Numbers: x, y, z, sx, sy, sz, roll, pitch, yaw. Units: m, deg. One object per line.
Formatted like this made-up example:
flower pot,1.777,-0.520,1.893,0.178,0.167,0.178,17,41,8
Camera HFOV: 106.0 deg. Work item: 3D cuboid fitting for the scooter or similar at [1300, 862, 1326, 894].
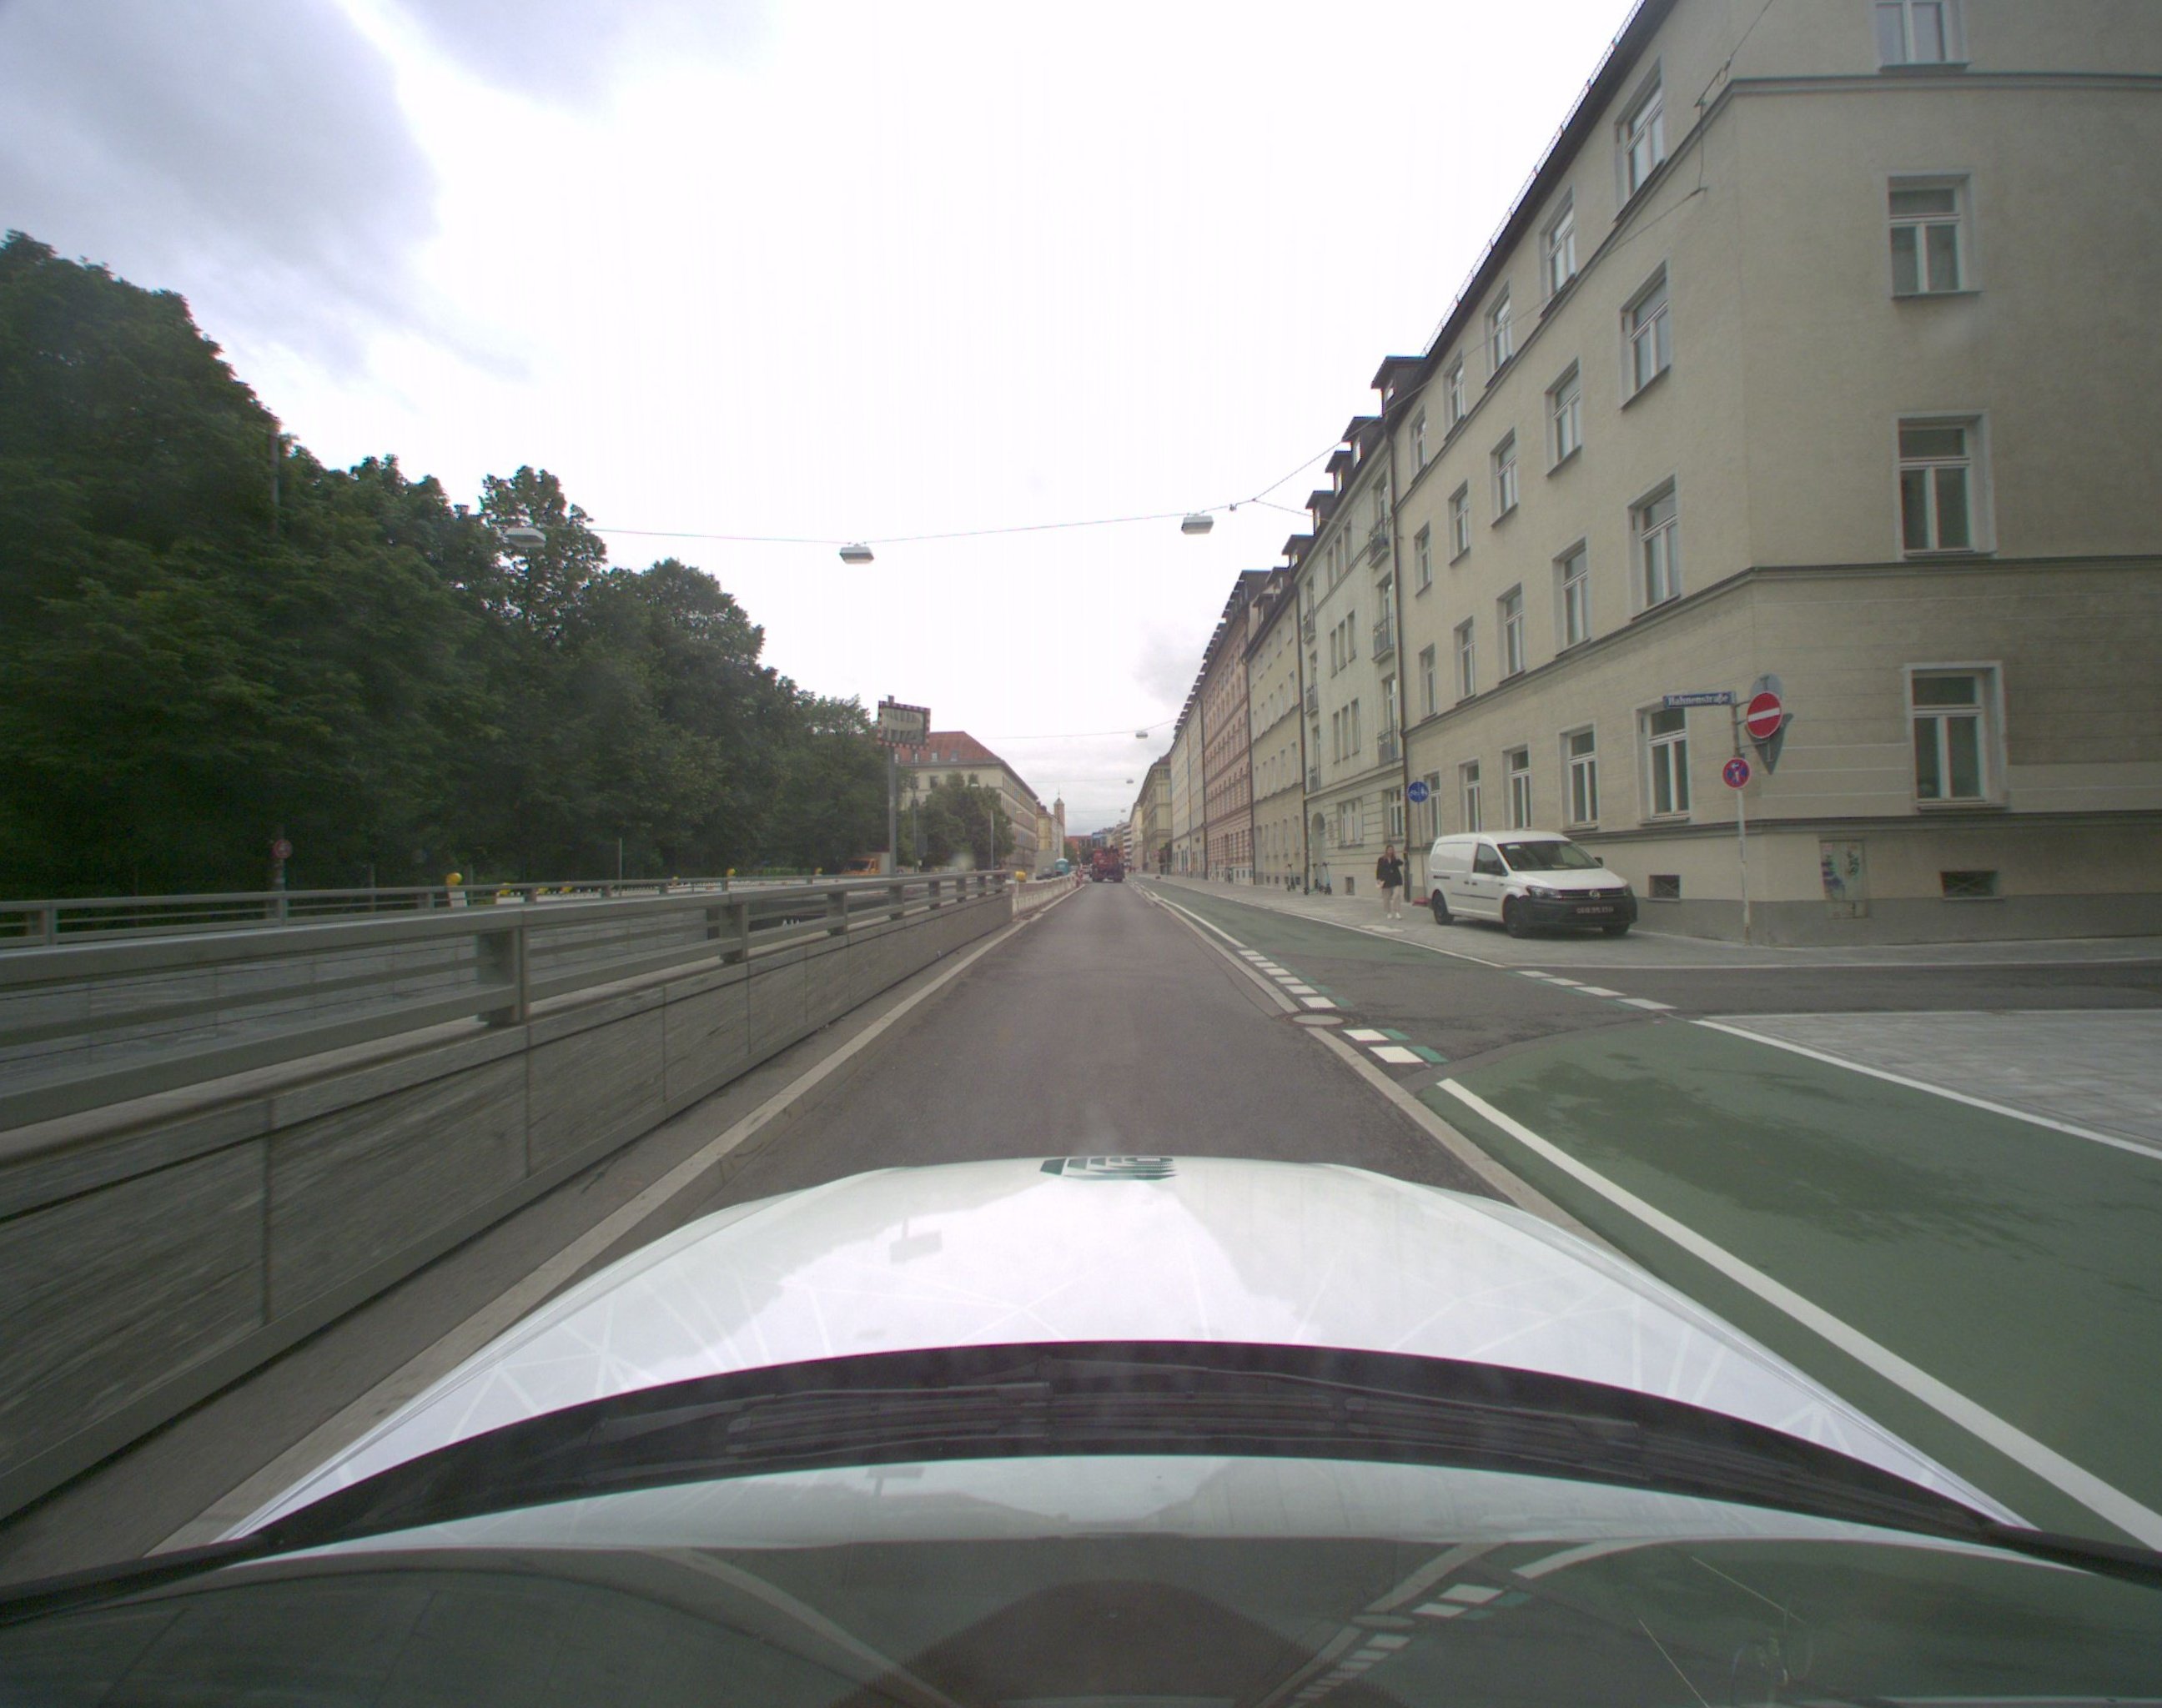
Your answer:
scooter or similar,9.312,0.969,32.740,1.123,1.231,0.244,-2,-2,-32

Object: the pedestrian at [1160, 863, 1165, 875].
pedestrian,12.829,2.378,127.877,0.787,1.836,0.777,-2,-1,3

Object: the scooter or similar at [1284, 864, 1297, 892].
scooter or similar,9.606,1.099,37.384,0.244,1.231,1.126,-4,-2,27

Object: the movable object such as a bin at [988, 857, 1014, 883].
movable object such as a bin,-8.158,1.634,83.536,1.916,2.572,4.496,-1,-1,3

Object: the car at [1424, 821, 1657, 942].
car,7.853,0.441,14.491,1.727,1.750,4.437,-2,-1,2

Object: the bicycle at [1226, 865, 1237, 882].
bicycle,10.384,1.351,56.231,0.422,1.174,1.739,-2,-1,19

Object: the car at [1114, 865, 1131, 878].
car,4.824,2.011,95.237,1.795,1.480,4.687,-2,-1,1

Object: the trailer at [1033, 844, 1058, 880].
trailer,-3.446,0.782,78.375,2.222,3.244,7.510,-1,-1,-3

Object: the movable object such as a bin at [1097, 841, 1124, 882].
movable object such as a bin,2.706,0.701,76.016,2.415,3.612,5.851,-1,-1,1

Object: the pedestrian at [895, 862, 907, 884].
pedestrian,-13.531,1.409,61.276,0.660,1.603,0.698,-1,-1,3

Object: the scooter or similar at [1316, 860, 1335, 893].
scooter or similar,9.489,0.871,31.632,0.385,1.272,1.120,-3,-2,1

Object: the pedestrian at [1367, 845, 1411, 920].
pedestrian,6.957,0.626,18.416,0.662,1.636,0.737,-2,-1,1

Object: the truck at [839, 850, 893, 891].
truck,-15.147,1.149,57.658,1.985,2.729,5.873,-1,-1,3
